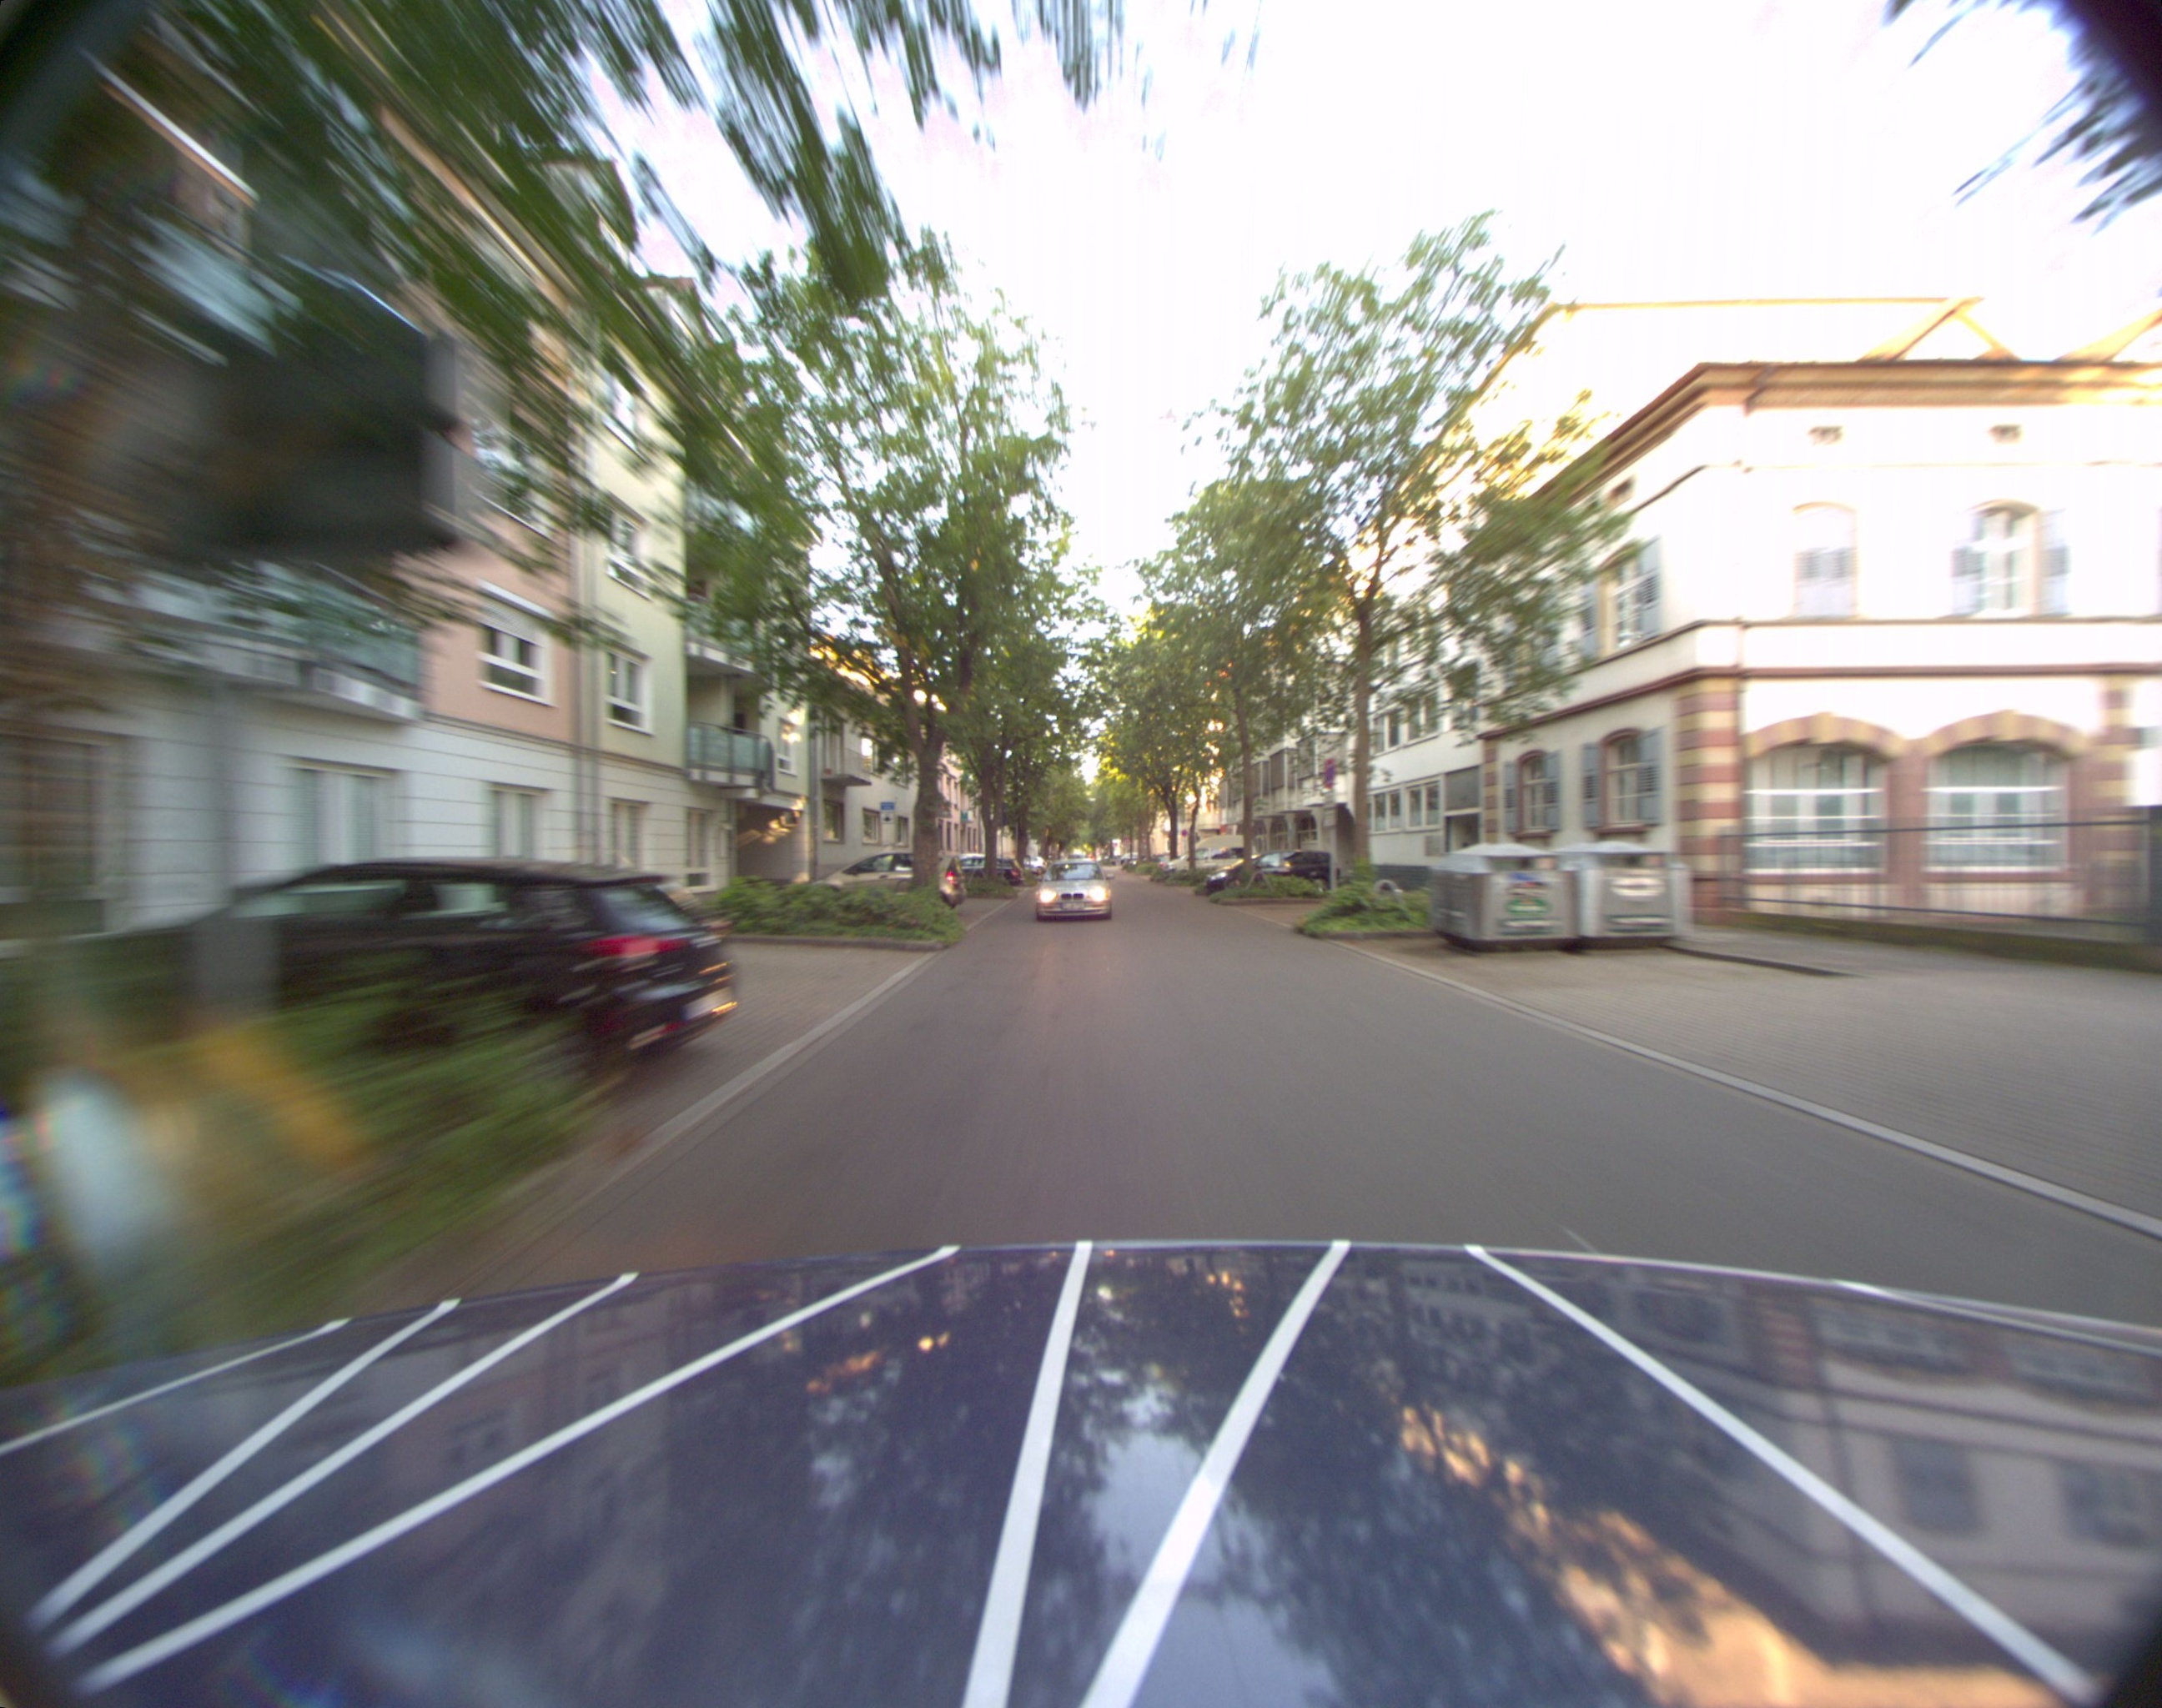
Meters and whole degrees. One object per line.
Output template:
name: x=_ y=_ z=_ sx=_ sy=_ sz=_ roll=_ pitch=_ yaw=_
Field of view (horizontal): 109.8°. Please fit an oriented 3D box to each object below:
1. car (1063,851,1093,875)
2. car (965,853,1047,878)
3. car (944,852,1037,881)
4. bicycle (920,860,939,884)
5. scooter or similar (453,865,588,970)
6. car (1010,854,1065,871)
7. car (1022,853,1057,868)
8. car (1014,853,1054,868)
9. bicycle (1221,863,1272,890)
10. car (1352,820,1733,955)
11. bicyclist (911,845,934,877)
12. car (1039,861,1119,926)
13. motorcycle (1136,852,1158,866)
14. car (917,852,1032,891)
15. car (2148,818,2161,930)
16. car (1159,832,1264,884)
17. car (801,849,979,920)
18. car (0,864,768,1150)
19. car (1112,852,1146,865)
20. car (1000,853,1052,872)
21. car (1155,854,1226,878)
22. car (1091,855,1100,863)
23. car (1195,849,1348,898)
car: x=-0.212 y=0.641 z=56.418 sx=1.892 sy=1.636 sz=4.001 roll=-2 pitch=0 yaw=4
car: x=-4.685 y=0.701 z=47.687 sx=4.851 sy=1.440 sz=2.042 roll=1 pitch=0 yaw=2
car: x=-4.861 y=0.670 z=41.221 sx=4.689 sy=1.380 sz=2.000 roll=2 pitch=0 yaw=1
bicycle: x=-7.843 y=0.910 z=39.540 sx=0.622 sy=1.157 sz=3.399 roll=-1 pitch=0 yaw=-6
scooter or similar: x=-7.128 y=0.764 z=9.748 sx=0.656 sy=1.196 sz=1.454 roll=2 pitch=0 yaw=-3
car: x=-3.963 y=0.781 z=69.489 sx=4.887 sy=1.488 sz=1.988 roll=-1 pitch=0 yaw=0
car: x=-4.495 y=0.663 z=83.022 sx=3.732 sy=1.544 sz=1.754 roll=-1 pitch=0 yaw=-3
car: x=-4.613 y=0.604 z=74.335 sx=3.846 sy=1.403 sz=1.712 roll=0 pitch=0 yaw=-4
bicycle: x=5.366 y=0.721 z=24.676 sx=1.556 sy=0.826 sz=0.613 roll=-1 pitch=1 yaw=3
car: x=6.684 y=0.449 z=11.385 sx=4.517 sy=1.761 sz=2.000 roll=-1 pitch=1 yaw=-1
bicyclist: x=-8.182 y=0.365 z=39.255 sx=0.973 sy=1.595 sz=1.135 roll=-1 pitch=1 yaw=-3
car: x=-0.128 y=0.871 z=18.710 sx=1.737 sy=1.363 sz=4.331 roll=-1 pitch=0 yaw=-2
motorcycle: x=7.315 y=0.564 z=84.071 sx=2.234 sy=1.461 sz=0.900 roll=-1 pitch=0 yaw=-23
car: x=-4.481 y=0.712 z=32.372 sx=4.468 sy=1.419 sz=2.012 roll=2 pitch=1 yaw=4
car: x=18.014 y=0.304 z=9.746 sx=2.003 sy=1.747 sz=4.677 roll=-1 pitch=0 yaw=-3
car: x=6.673 y=0.199 z=39.211 sx=5.016 sy=2.558 sz=2.121 roll=-1 pitch=0 yaw=0
car: x=-4.706 y=0.726 z=19.174 sx=3.979 sy=1.576 sz=1.916 roll=2 pitch=0 yaw=-1
car: x=-4.563 y=0.887 z=5.125 sx=4.095 sy=1.443 sz=1.934 roll=2 pitch=0 yaw=-5
car: x=6.565 y=0.592 z=103.329 sx=4.601 sy=1.725 sz=2.142 roll=-1 pitch=0 yaw=5
car: x=-4.451 y=0.691 z=61.513 sx=4.093 sy=1.482 sz=1.797 roll=-1 pitch=0 yaw=-3
car: x=6.779 y=0.741 z=47.452 sx=4.178 sy=1.460 sz=1.953 roll=-1 pitch=0 yaw=1
car: x=3.168 y=1.060 z=167.371 sx=1.787 sy=1.678 sz=4.385 roll=-1 pitch=0 yaw=-2
car: x=6.614 y=0.660 z=26.801 sx=4.865 sy=1.612 sz=2.160 roll=-1 pitch=0 yaw=1
